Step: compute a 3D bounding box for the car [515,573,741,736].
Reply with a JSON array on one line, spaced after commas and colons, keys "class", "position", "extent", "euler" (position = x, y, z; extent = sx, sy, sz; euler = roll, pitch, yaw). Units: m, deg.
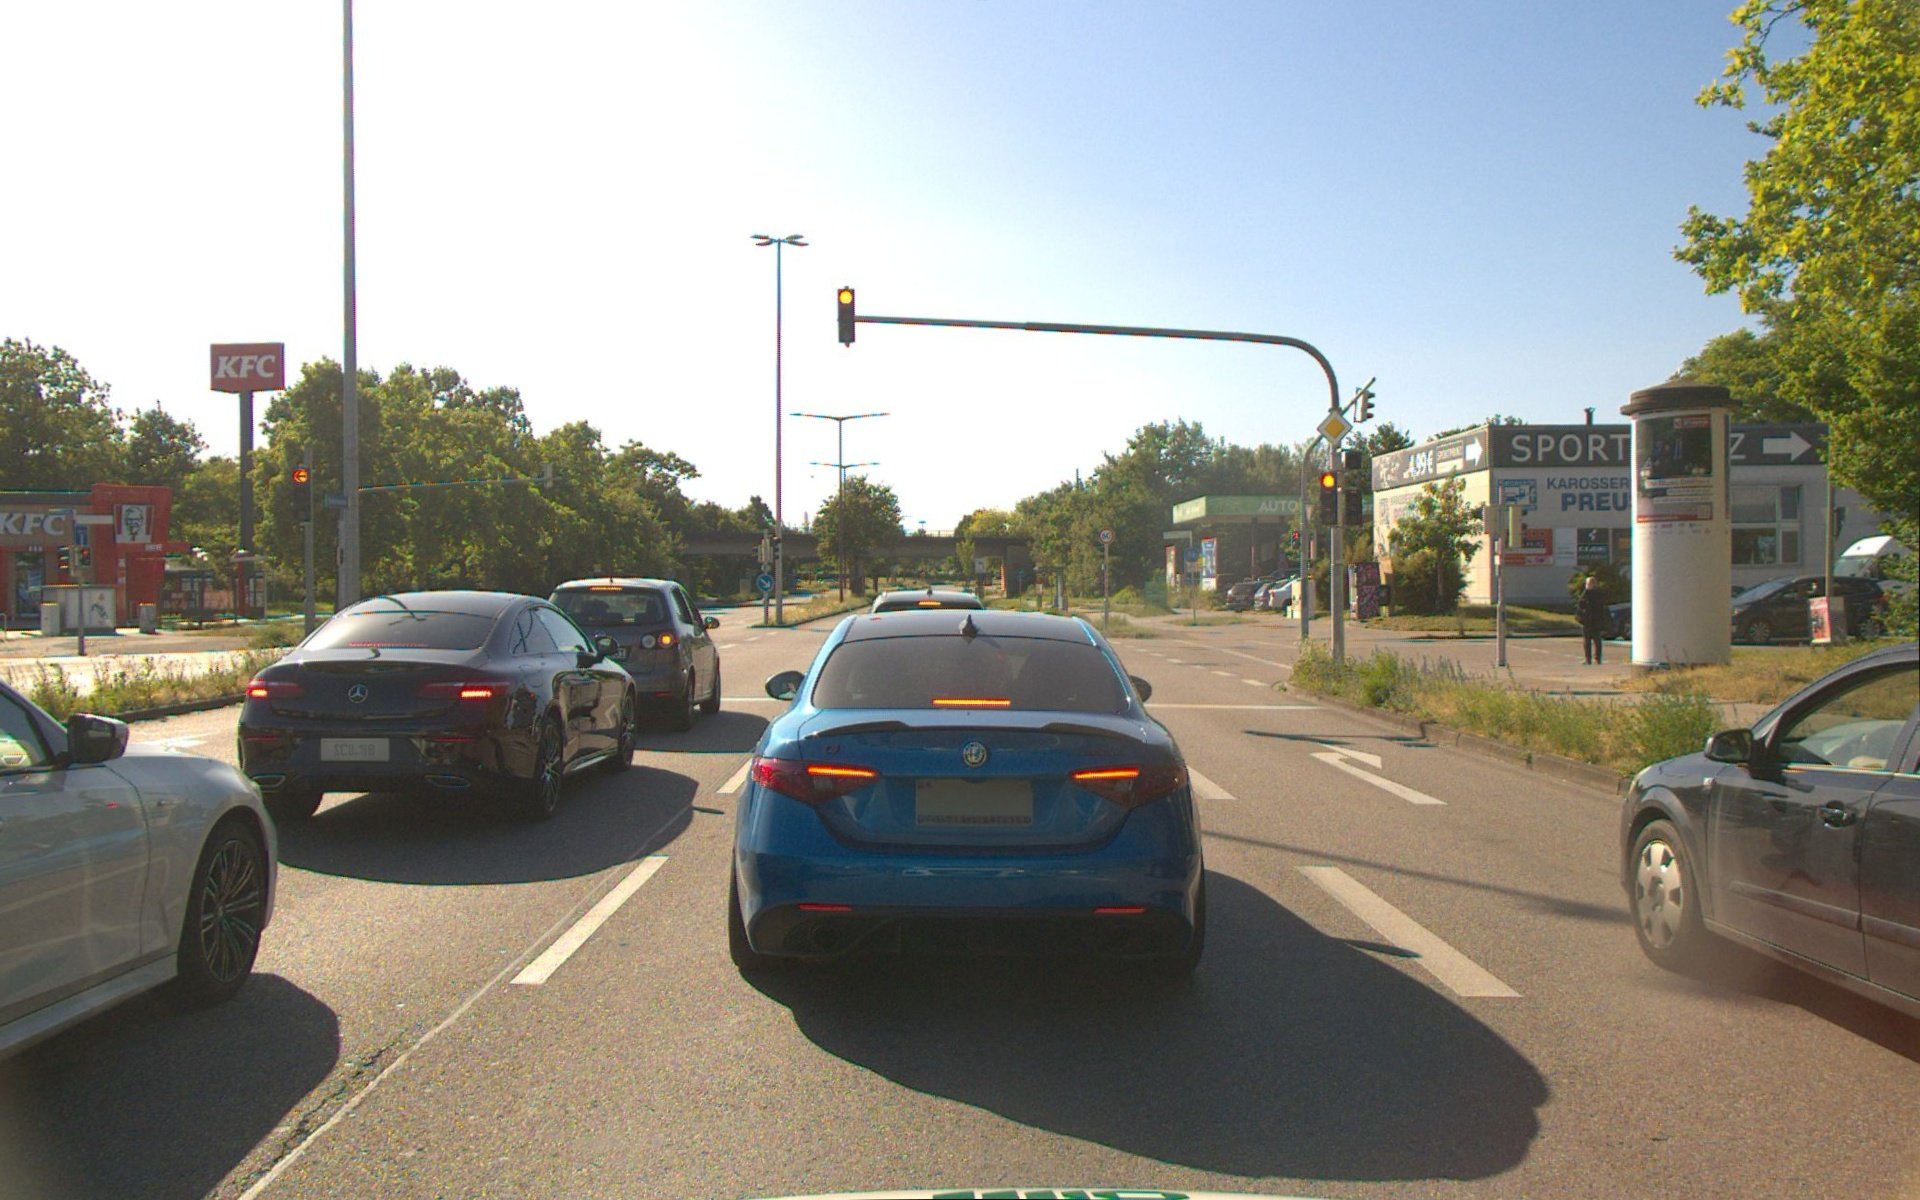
[{"class": "car", "position": [-3.576, 0.550, 18.551], "extent": [1.776, 1.578, 4.351], "euler": [1, 0, -2]}]

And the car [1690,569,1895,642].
[{"class": "car", "position": [20.416, 0.134, 40.654], "extent": [4.219, 1.678, 1.637], "euler": [1, 0, -2]}]

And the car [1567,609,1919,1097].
[{"class": "car", "position": [3.776, 0.795, 5.687], "extent": [1.699, 1.467, 4.370], "euler": [1, 0, -1]}]

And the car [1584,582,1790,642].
[{"class": "car", "position": [19.301, 0.317, 44.012], "extent": [4.722, 1.493, 1.758], "euler": [1, 0, -3]}]

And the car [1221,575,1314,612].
[{"class": "car", "position": [14.111, -0.286, 76.093], "extent": [3.905, 1.579, 2.000], "euler": [1, 0, 0]}]

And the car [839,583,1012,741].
[{"class": "car", "position": [-0.309, 0.619, 18.116], "extent": [1.669, 1.523, 3.719], "euler": [1, 0, 1]}]

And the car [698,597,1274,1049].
[{"class": "car", "position": [0.116, 0.740, 7.301], "extent": [1.870, 1.447, 3.719], "euler": [1, 0, 1]}]

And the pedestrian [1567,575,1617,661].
[{"class": "pedestrian", "position": [12.691, 0.355, 33.225], "extent": [0.800, 1.698, 0.514], "euler": [1, -1, -1]}]

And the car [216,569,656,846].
[{"class": "car", "position": [-3.430, 0.610, 11.795], "extent": [1.775, 1.578, 4.542], "euler": [1, 0, -1]}]

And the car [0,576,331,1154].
[{"class": "car", "position": [-3.396, 0.688, 4.291], "extent": [1.775, 1.512, 4.596], "euler": [0, 0, 0]}]

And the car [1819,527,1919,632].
[{"class": "car", "position": [26.376, -0.567, 44.239], "extent": [5.715, 2.719, 2.000], "euler": [-1, 0, 0]}]

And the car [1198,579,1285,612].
[{"class": "car", "position": [14.453, -0.239, 84.864], "extent": [3.925, 1.579, 1.990], "euler": [1, 0, -18]}]
